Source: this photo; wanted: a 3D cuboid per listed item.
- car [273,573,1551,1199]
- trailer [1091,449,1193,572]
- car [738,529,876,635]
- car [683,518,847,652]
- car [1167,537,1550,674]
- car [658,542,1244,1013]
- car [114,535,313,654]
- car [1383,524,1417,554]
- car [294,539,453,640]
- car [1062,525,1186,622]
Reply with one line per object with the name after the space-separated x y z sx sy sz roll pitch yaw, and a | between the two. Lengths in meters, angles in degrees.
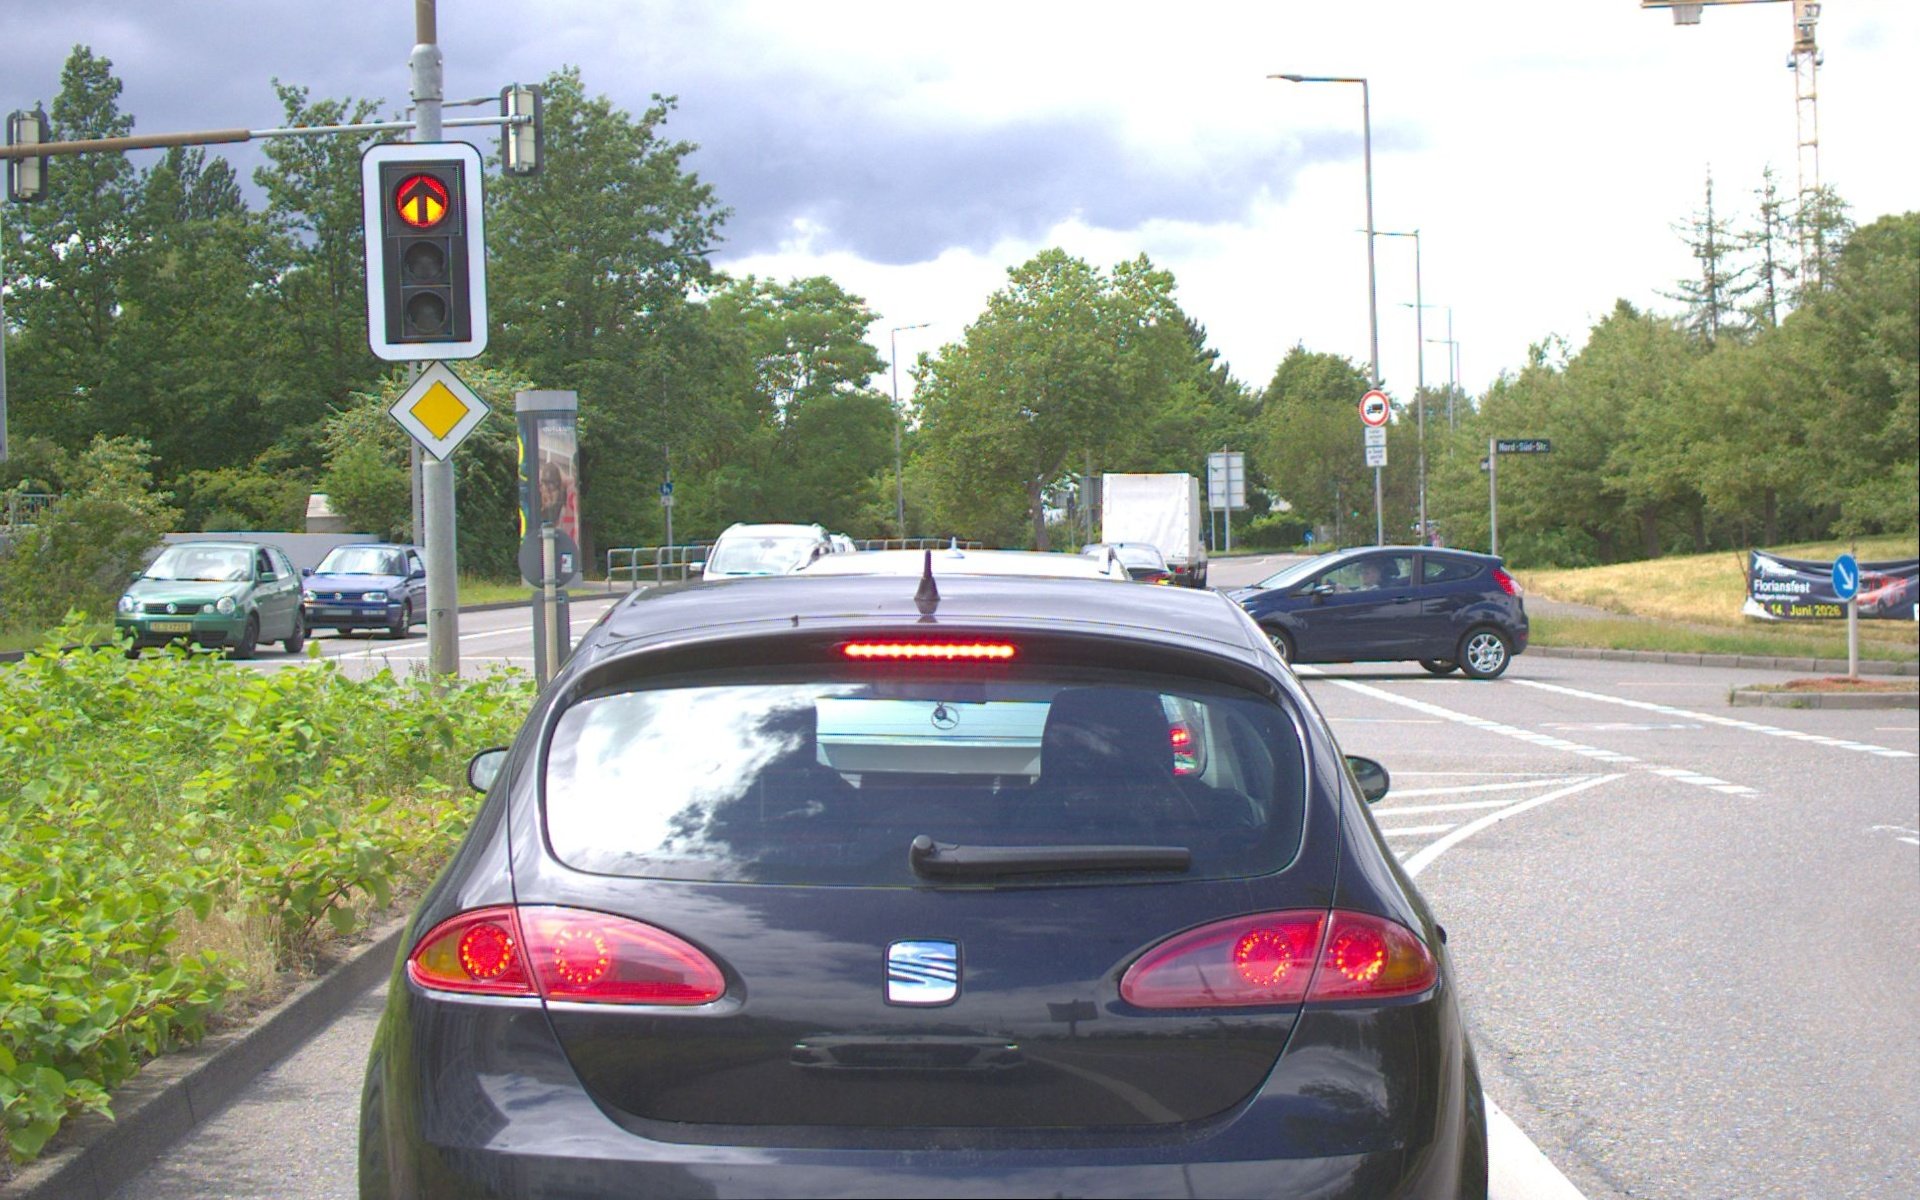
-0.081 0.687 6.359 1.711 1.412 3.459 1 1 0 | car
4.775 -2.273 89.425 2.491 3.063 5.586 1 1 4 | trailer
-2.287 -0.305 52.289 1.660 1.513 4.084 1 1 3 | car
-2.569 -0.251 46.210 1.820 1.681 4.645 1 1 1 | car
4.415 0.056 38.312 3.878 1.441 1.760 1 1 -10 | car
-0.010 0.542 12.751 1.834 1.462 3.751 1 1 1 | car
-9.373 -0.099 43.408 1.605 1.427 3.752 0 1 2 | car
23.930 -3.325 186.951 1.668 1.590 3.998 1 1 9 | car
-8.804 -0.188 51.877 1.554 1.414 3.895 0 1 3 | car
2.757 -0.475 57.497 1.994 1.560 4.470 0 1 3 | car
